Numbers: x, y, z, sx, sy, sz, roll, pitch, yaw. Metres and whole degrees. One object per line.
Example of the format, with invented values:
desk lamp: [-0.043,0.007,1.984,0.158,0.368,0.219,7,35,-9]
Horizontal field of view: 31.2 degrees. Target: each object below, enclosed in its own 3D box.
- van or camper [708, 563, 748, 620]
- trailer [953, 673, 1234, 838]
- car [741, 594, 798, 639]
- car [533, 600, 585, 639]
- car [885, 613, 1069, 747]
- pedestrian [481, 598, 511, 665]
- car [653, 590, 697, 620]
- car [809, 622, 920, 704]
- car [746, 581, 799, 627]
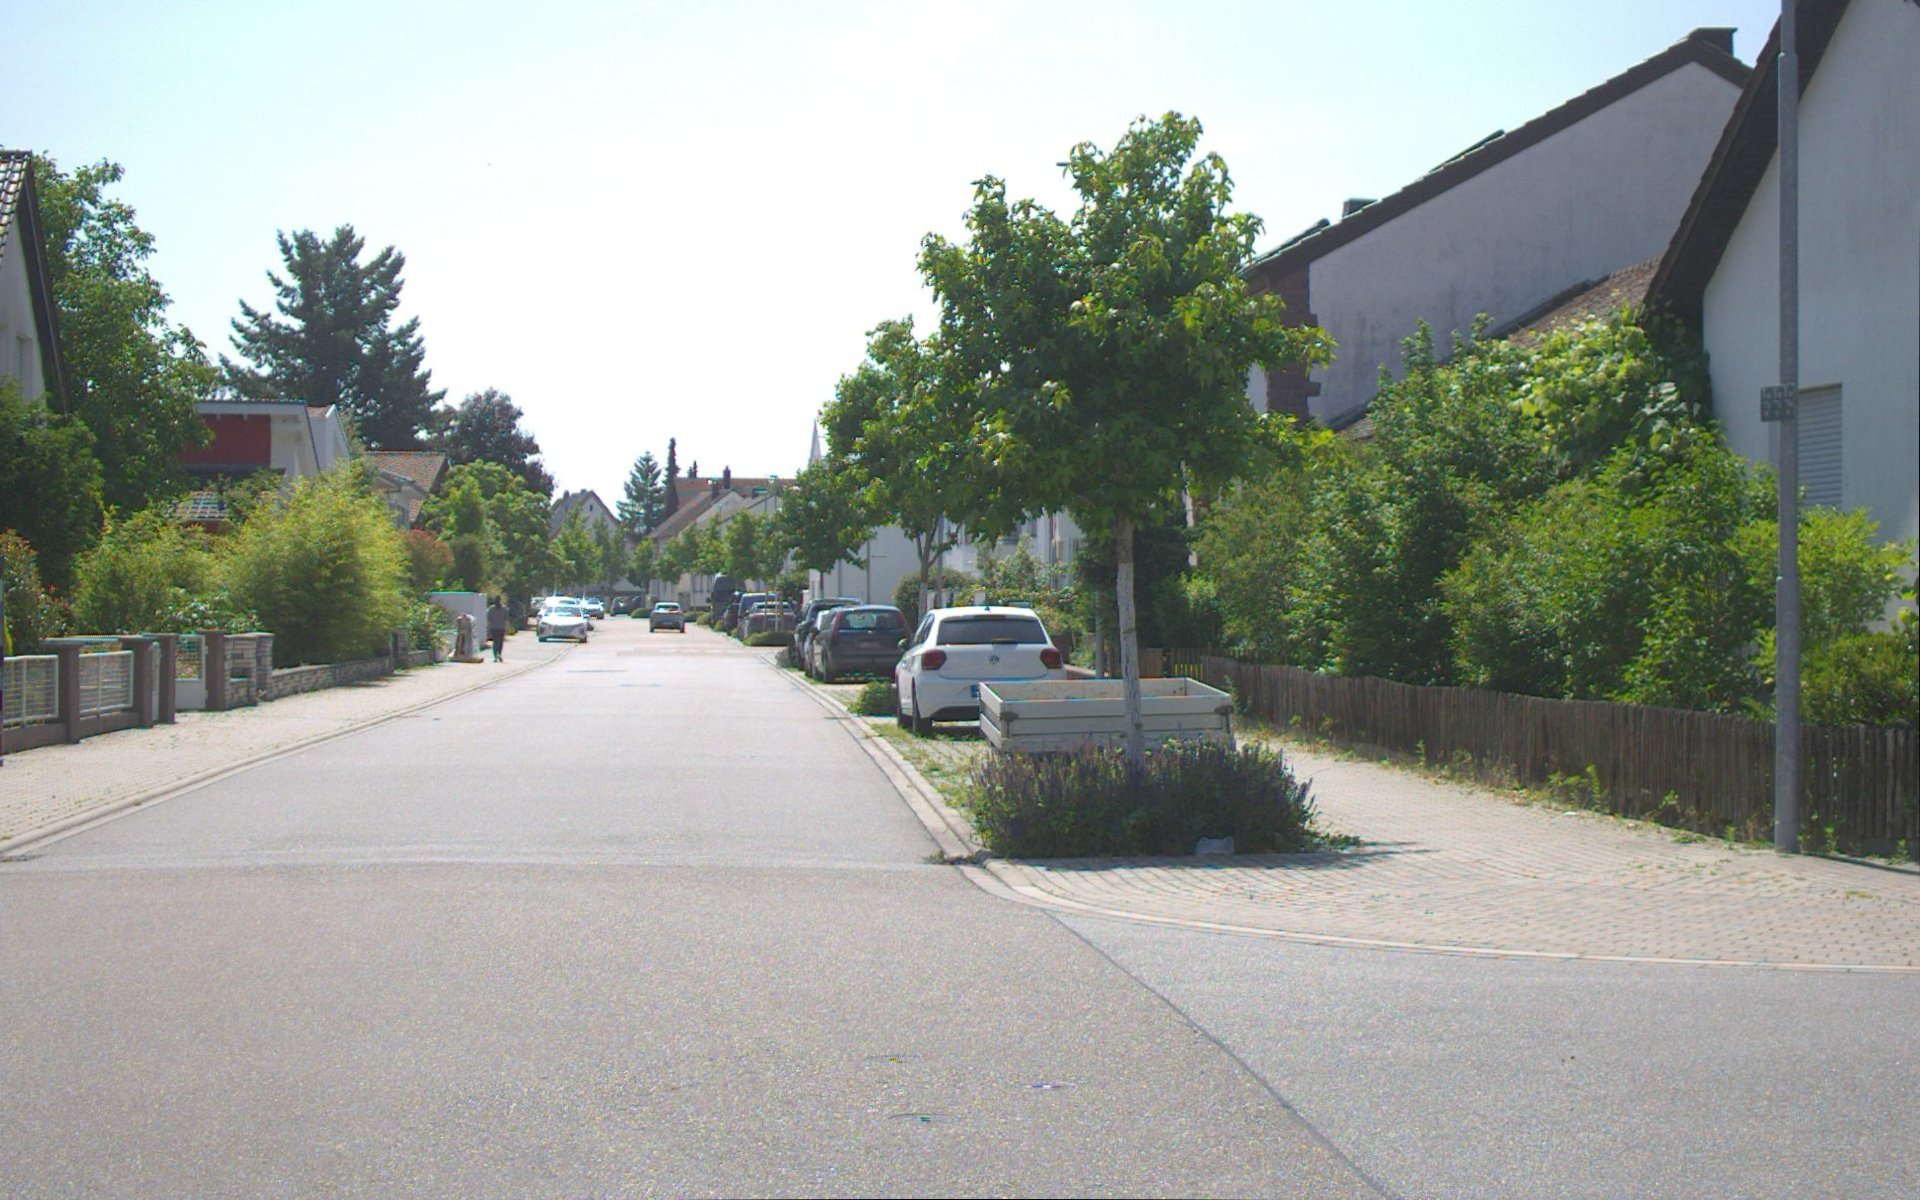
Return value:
van or camper: [-12.209,-0.443,180.831,1.993,2.931,4.001,0,0,-5]
trailer: [0.924,1.108,25.198,1.787,1.055,2.899,0,0,-3]
car: [-6.958,0.593,125.138,1.773,1.590,4.280,0,0,-7]
car: [-15.488,0.748,133.052,1.851,1.483,4.386,0,0,-5]
car: [0.147,0.879,39.437,1.814,1.415,3.868,0,0,-4]
pedestrian: [-12.179,0.821,90.281,0.714,1.741,0.961,0,0,-5]
car: [-13.898,0.232,167.878,1.993,1.425,4.000,0,0,-3]
car: [-1.899,1.207,66.904,1.741,1.528,4.449,-1,0,-7]
car: [-7.759,0.156,141.851,2.099,1.875,4.843,0,0,-4]
